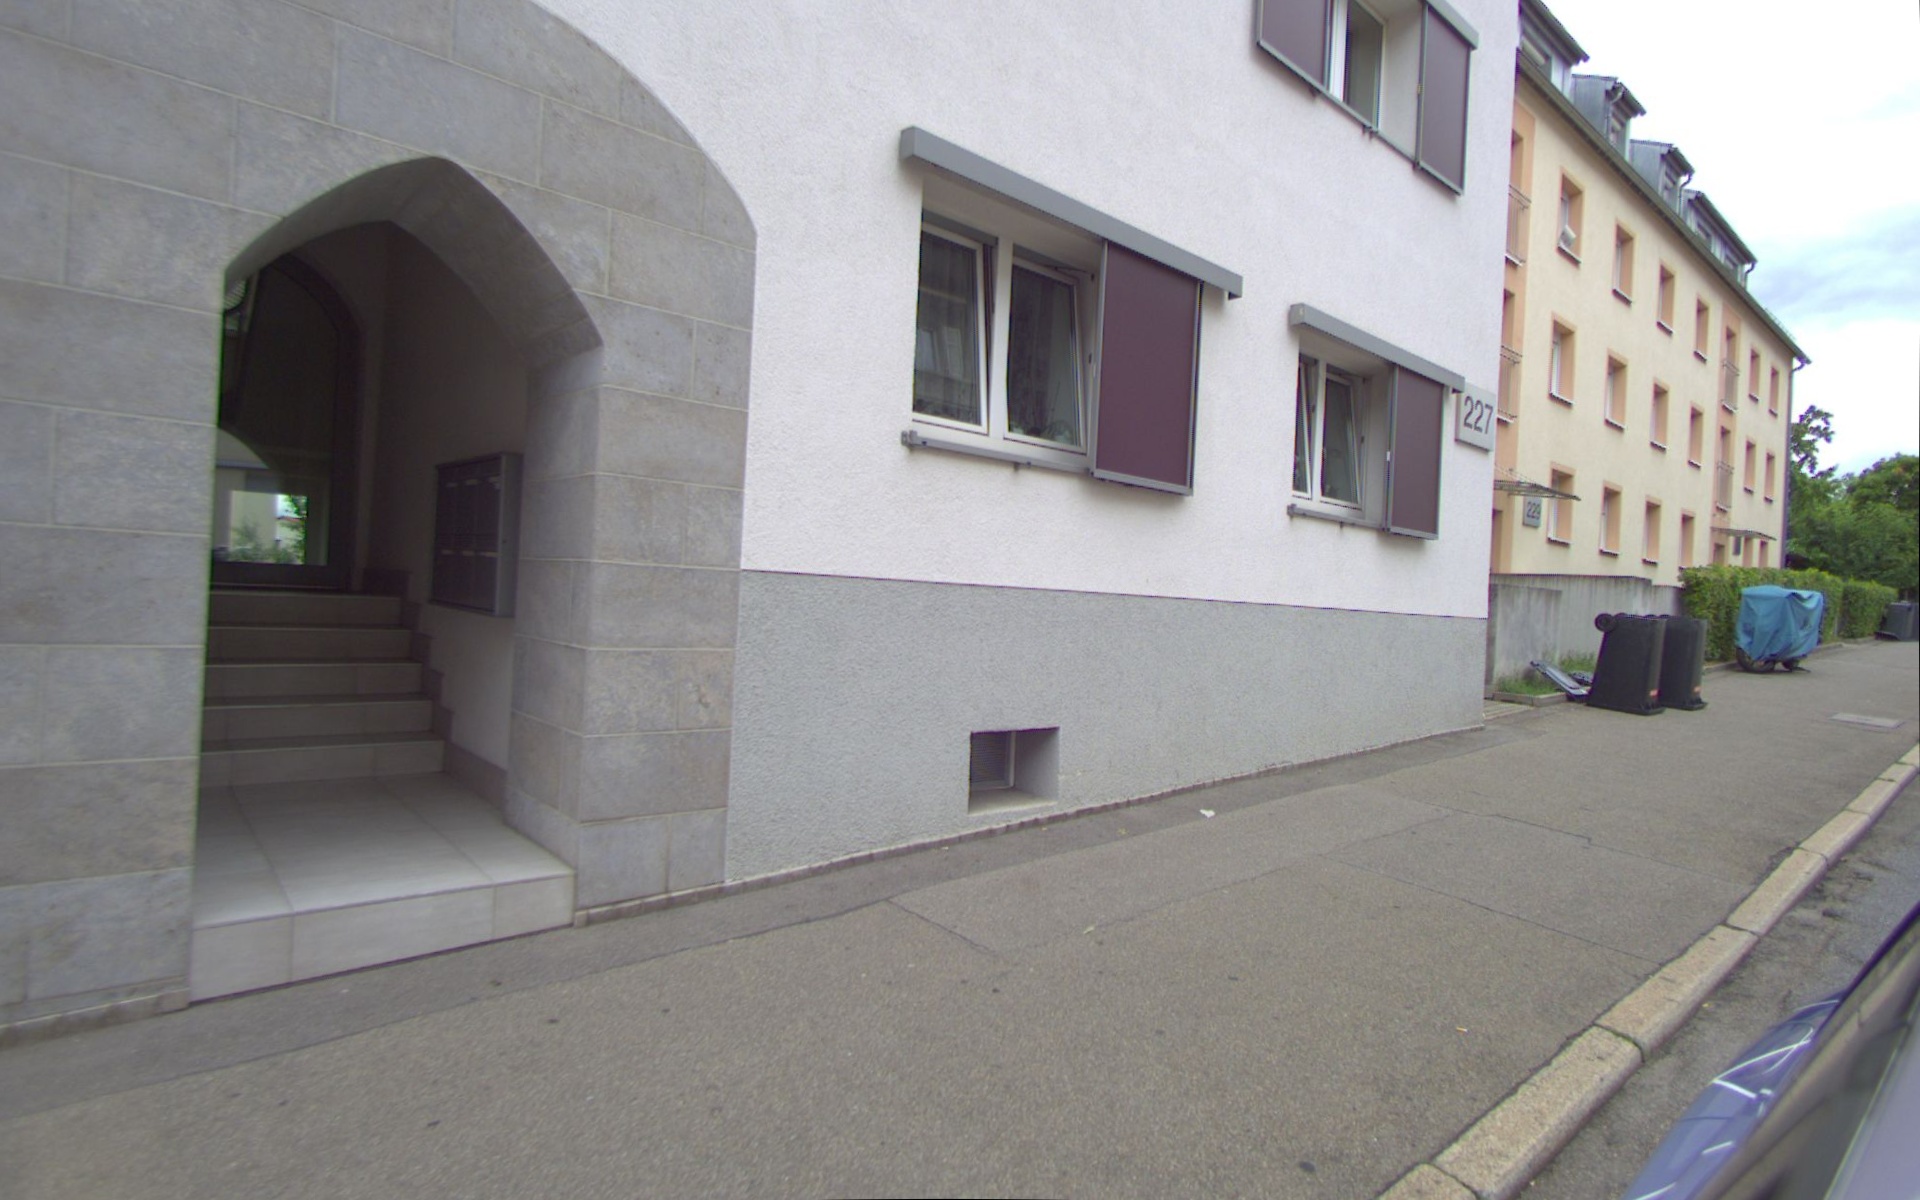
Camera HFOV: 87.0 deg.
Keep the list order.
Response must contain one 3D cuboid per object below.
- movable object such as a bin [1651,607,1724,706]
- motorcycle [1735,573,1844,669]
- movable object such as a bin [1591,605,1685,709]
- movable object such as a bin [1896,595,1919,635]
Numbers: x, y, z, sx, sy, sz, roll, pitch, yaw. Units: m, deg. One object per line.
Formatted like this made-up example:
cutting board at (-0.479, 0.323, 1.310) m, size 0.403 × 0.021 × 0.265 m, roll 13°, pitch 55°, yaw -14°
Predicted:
movable object such as a bin at (8.134, 0.611, 11.318) m, size 0.563 × 1.021 × 0.491 m, roll 5°, pitch 3°, yaw 41°
motorcycle at (13.204, 0.311, 16.094) m, size 1.899 × 1.406 × 0.733 m, roll 1°, pitch 4°, yaw -34°
movable object such as a bin at (7.255, 0.593, 10.836) m, size 0.592 × 1.021 × 0.637 m, roll 1°, pitch 3°, yaw -40°
movable object such as a bin at (25.778, 0.396, 27.345) m, size 0.530 × 1.073 × 0.669 m, roll 1°, pitch -1°, yaw -40°
